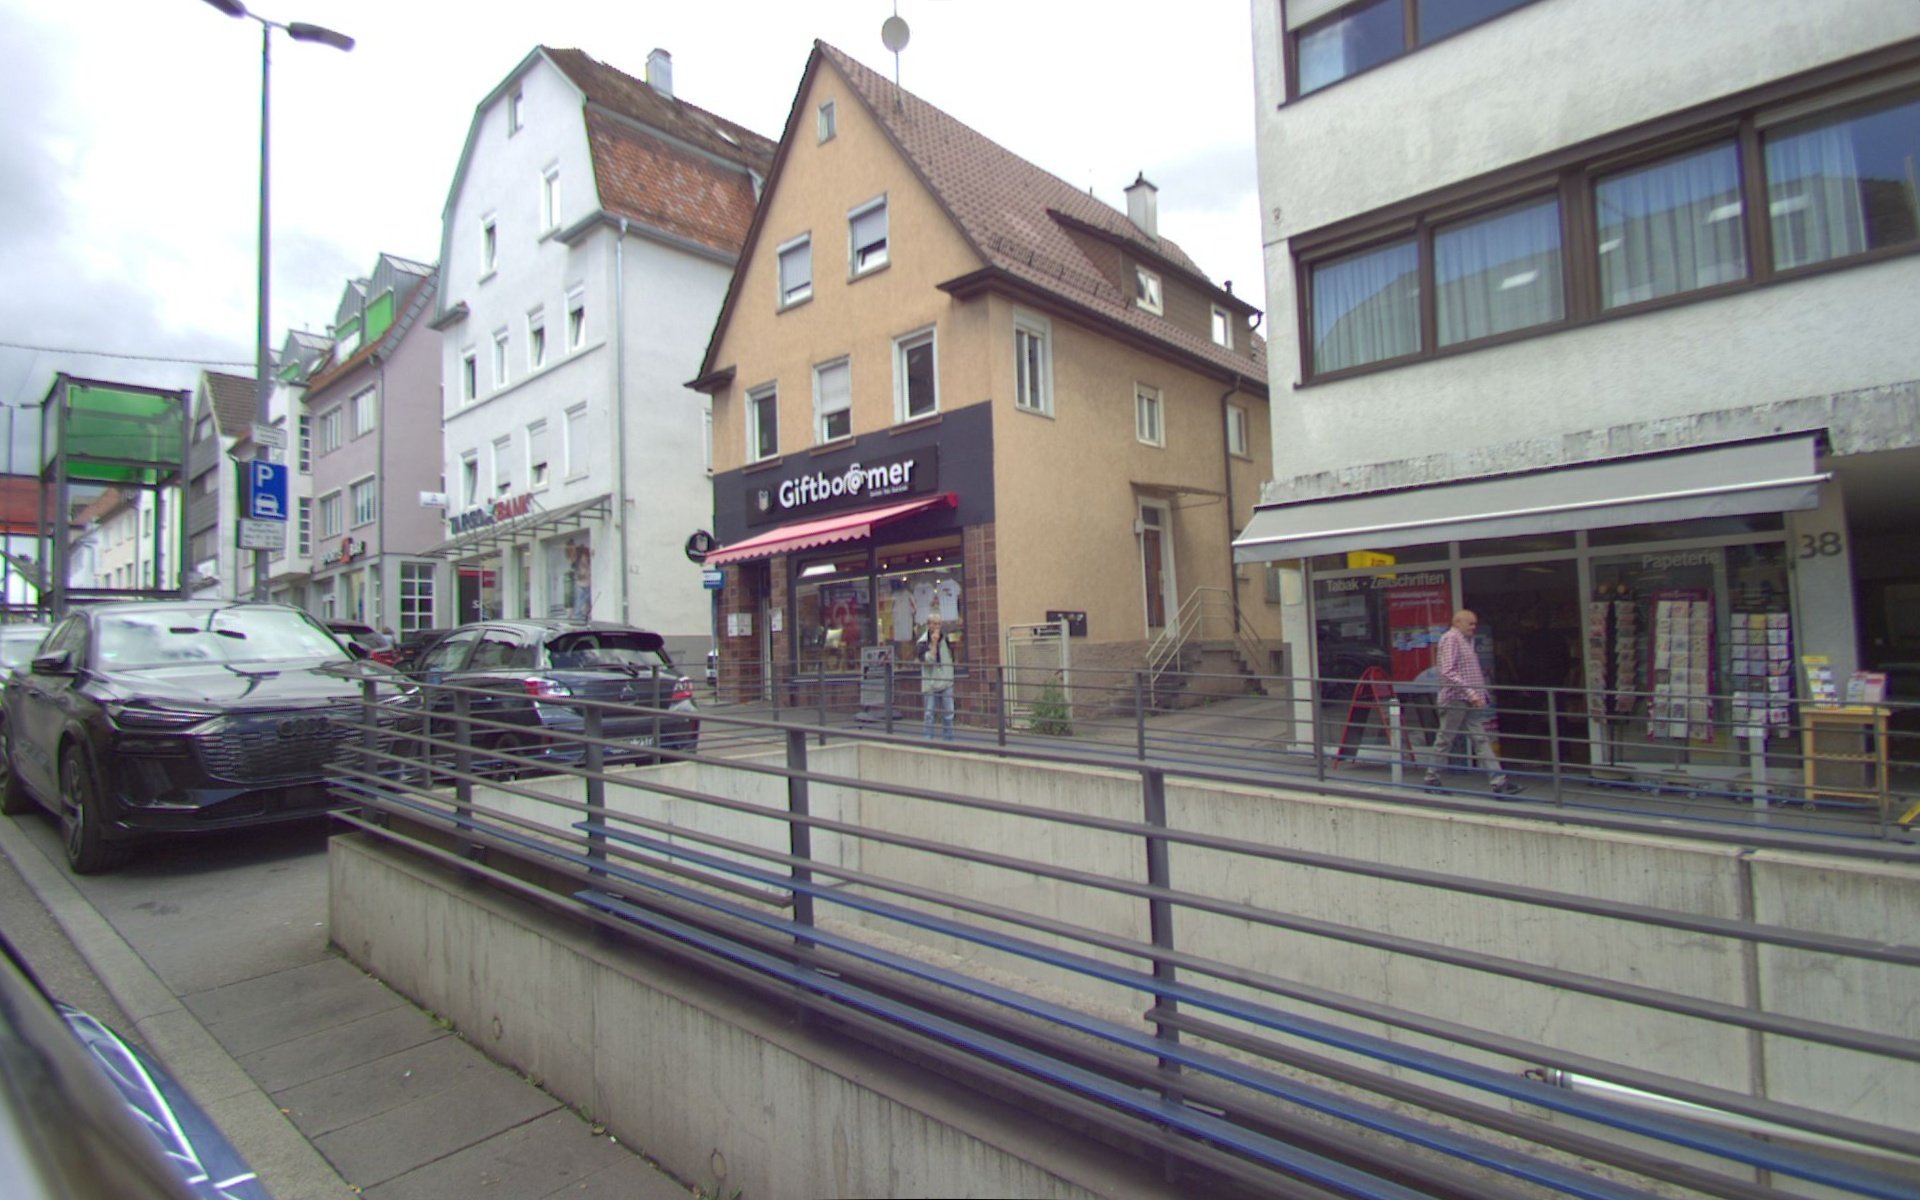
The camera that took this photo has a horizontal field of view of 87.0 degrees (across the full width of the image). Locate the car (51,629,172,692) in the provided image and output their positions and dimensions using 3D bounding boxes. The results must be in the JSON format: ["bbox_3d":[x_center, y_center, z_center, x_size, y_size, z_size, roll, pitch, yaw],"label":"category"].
[{"bbox_3d":[-21.381,1.480,25.470,3.851,1.486,1.553,-1,-3,38],"label":"car"}]

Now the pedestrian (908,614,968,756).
[{"bbox_3d":[-0.283,1.035,12.532,0.635,1.702,0.667,0,-3,-9],"label":"pedestrian"}]

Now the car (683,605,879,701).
[{"bbox_3d":[-3.987,1.130,23.028,1.883,1.887,4.026,-2,-1,43],"label":"car"}]

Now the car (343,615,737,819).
[{"bbox_3d":[-3.992,0.959,9.364,3.881,1.487,1.721,-1,-5,40],"label":"car"}]

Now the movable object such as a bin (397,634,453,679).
[{"bbox_3d":[-16.957,1.780,32.066,1.067,1.387,1.270,-2,-2,41],"label":"movable object such as a bin"}]

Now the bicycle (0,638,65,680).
[{"bbox_3d":[-28.445,1.784,30.766,0.459,1.232,1.760,-2,-3,40],"label":"bicycle"}]

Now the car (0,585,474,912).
[{"bbox_3d":[-5.436,0.782,7.255,4.311,1.652,1.936,-1,-1,40],"label":"car"}]

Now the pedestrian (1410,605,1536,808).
[{"bbox_3d":[4.564,0.910,9.019,0.632,1.702,0.828,3,-3,-44],"label":"pedestrian"}]

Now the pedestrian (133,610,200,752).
[{"bbox_3d":[-9.823,0.977,12.524,0.901,1.685,0.527,-3,-3,44],"label":"pedestrian"}]

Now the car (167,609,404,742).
[{"bbox_3d":[-9.458,0.943,14.058,4.191,1.554,1.721,-1,-1,41],"label":"car"}]

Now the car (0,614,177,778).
[{"bbox_3d":[-10.183,0.960,11.311,3.669,1.544,1.603,-1,-1,41],"label":"car"}]
